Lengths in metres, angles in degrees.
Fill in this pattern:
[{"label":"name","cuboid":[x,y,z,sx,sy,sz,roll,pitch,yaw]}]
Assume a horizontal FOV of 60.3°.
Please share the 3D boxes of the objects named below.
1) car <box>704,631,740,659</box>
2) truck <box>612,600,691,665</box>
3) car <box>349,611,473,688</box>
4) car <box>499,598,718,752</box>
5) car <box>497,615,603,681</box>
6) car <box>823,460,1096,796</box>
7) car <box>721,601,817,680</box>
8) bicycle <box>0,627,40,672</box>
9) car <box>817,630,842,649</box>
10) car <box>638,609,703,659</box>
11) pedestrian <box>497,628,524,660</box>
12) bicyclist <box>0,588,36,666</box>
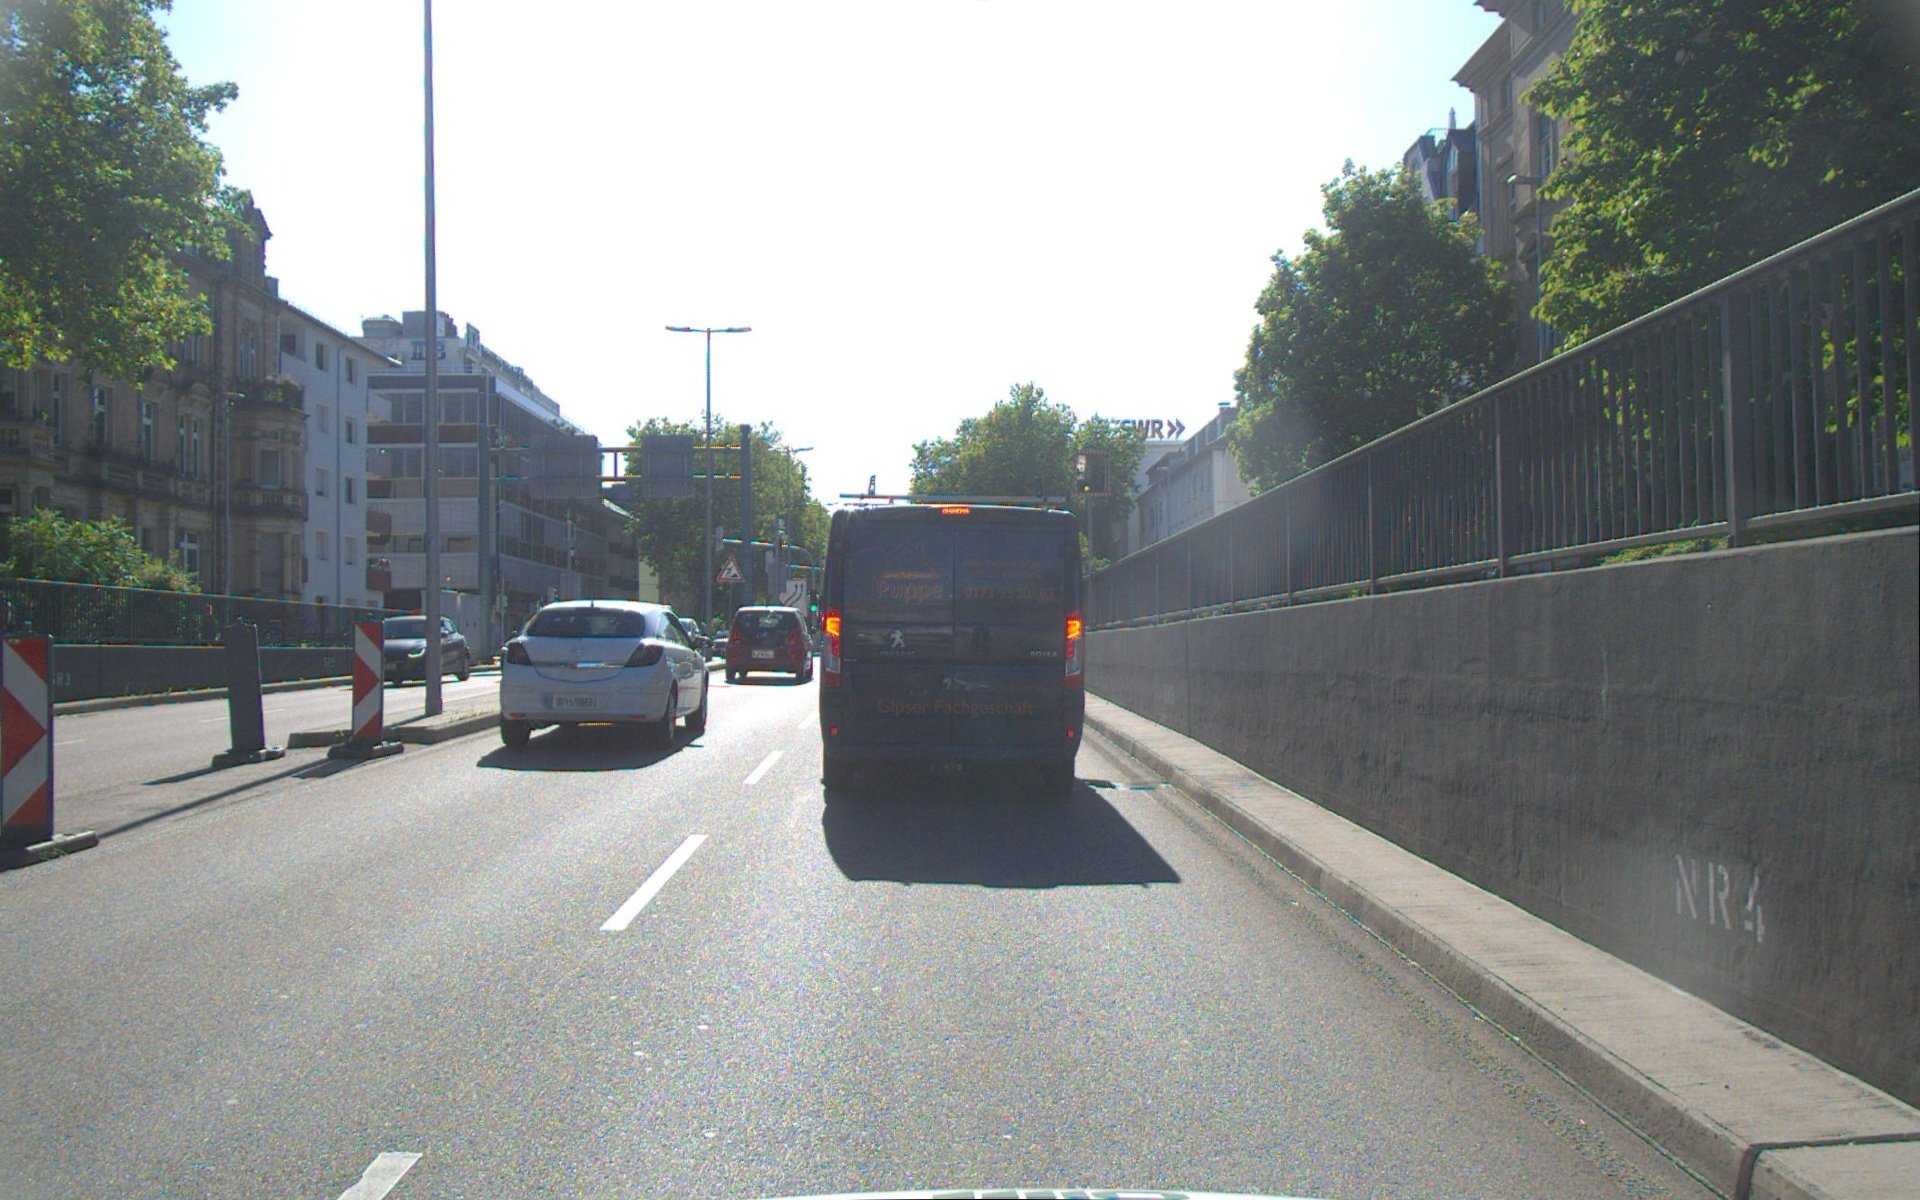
[{"label":"car","cuboid":[-13.414,2.512,93.399,1.559,1.470,3.494,-3,-1,-2]},{"label":"truck","cuboid":[-13.097,1.394,70.608,2.184,2.572,6.127,-2,-1,-1]},{"label":"car","cuboid":[-11.917,1.038,36.105,1.508,1.490,3.716,-3,0,-2]},{"label":"car","cuboid":[-3.594,0.705,17.525,1.586,1.428,3.850,1,0,-2]},{"label":"car","cuboid":[-9.202,1.042,37.377,1.508,1.322,3.926,-3,0,-2]},{"label":"car","cuboid":[-0.049,0.242,14.063,1.989,2.445,3.971,0,-1,-2]},{"label":"car","cuboid":[-3.869,0.788,33.890,1.655,1.509,3.317,1,0,-2]},{"label":"bicycle","cuboid":[-20.603,1.062,35.646,0.643,0.943,1.756,1,-1,-5]},{"label":"car","cuboid":[-11.299,3.432,143.036,1.897,1.582,3.922,1,-1,-1]},{"label":"car","cuboid":[-9.564,1.115,54.893,1.577,1.483,3.606,-3,-1,-2]},{"label":"pedestrian","cuboid":[-27.331,2.676,100.636,1.305,1.965,1.025,1,-1,-2]},{"label":"bicyclist","cuboid":[-20.597,0.573,35.656,0.759,1.662,1.022,1,-1,-5]}]
